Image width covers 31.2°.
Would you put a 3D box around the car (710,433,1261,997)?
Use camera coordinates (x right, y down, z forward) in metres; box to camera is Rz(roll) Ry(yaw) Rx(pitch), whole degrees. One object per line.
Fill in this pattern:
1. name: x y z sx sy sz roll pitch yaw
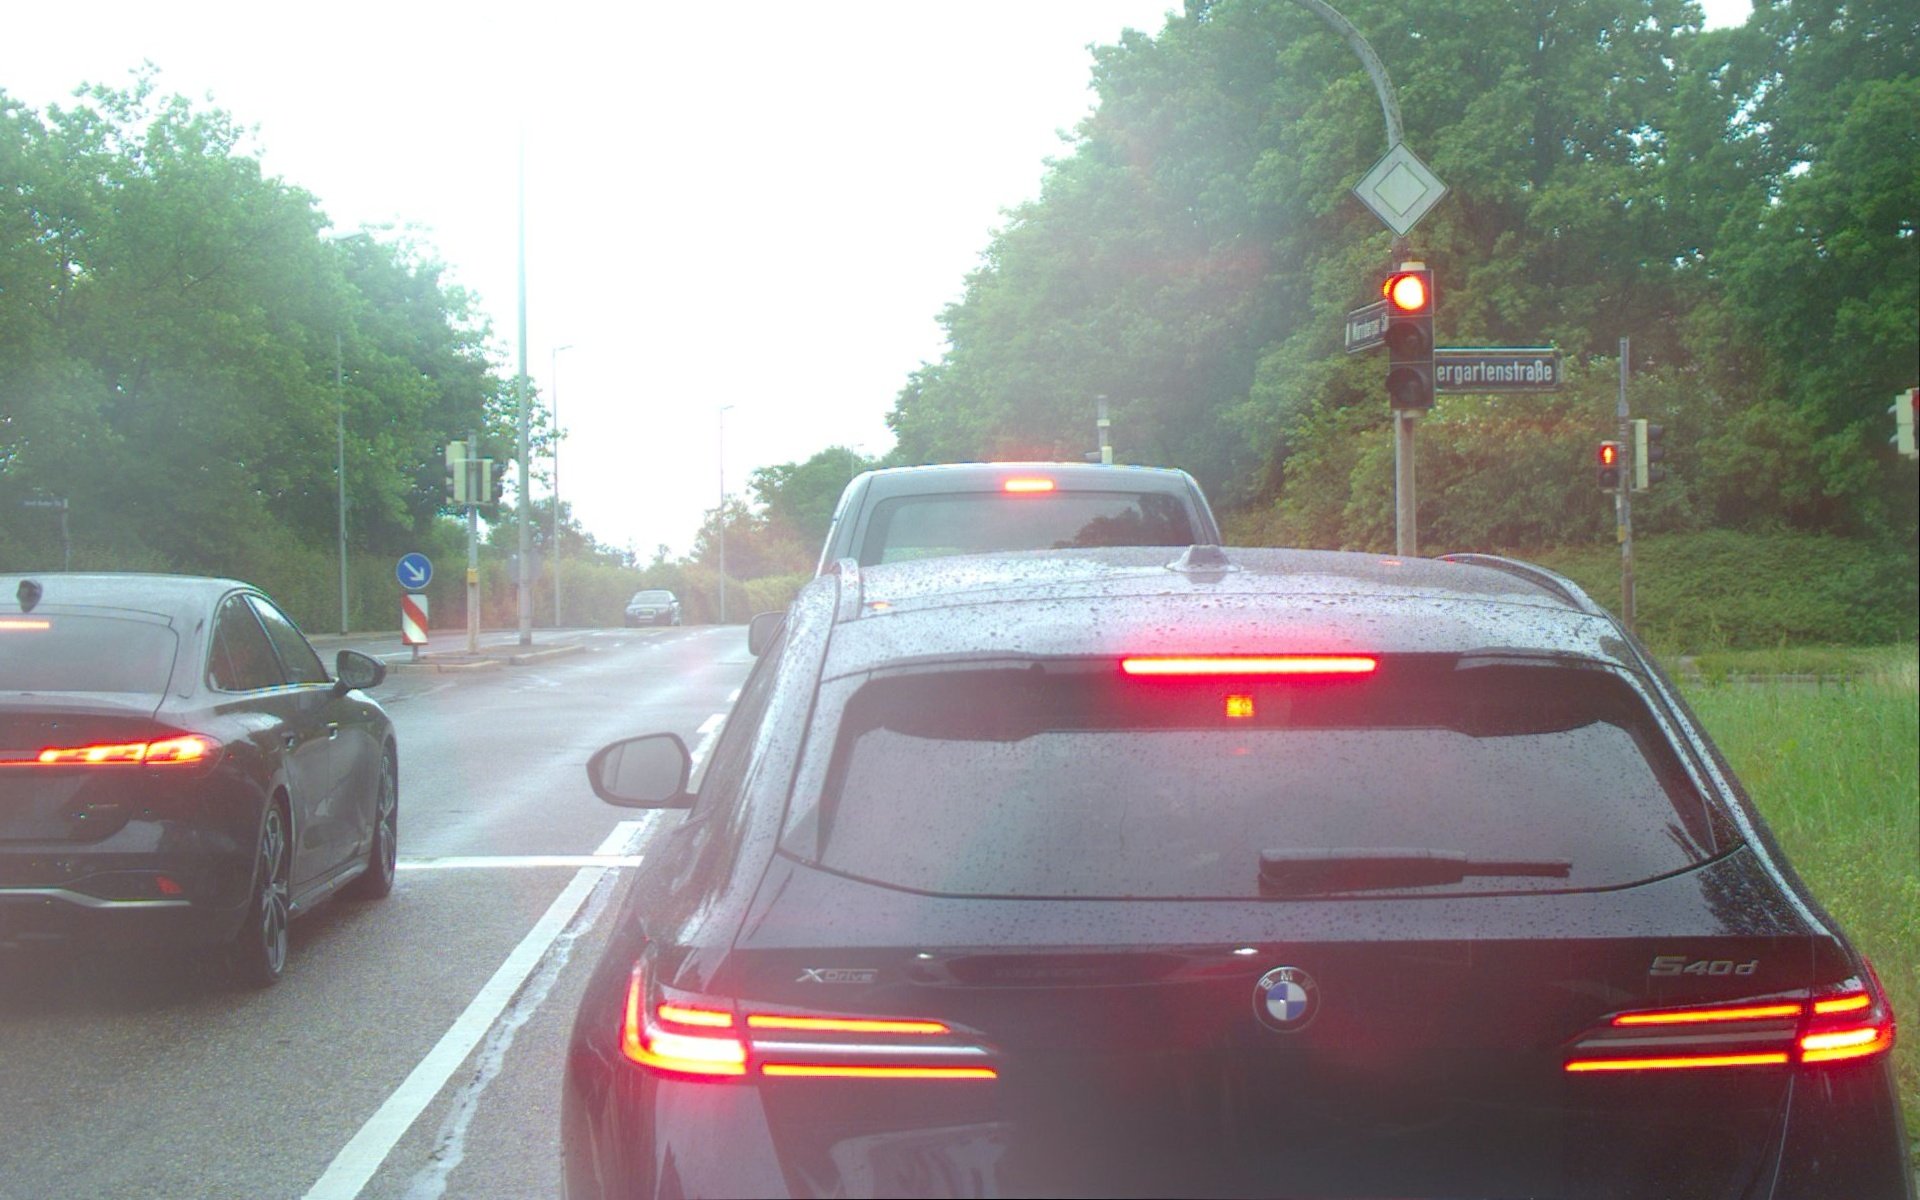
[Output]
1. car: 0.081 0.366 13.359 1.818 1.862 3.952 0 0 0

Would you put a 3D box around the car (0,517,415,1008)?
1. car: -3.349 0.528 13.052 1.993 1.522 4.328 -2 0 -3

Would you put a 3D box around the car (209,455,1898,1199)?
1. car: 0.210 0.619 6.177 1.898 1.546 4.614 0 0 3

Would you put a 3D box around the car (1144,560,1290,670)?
1. car: 3.878 0.209 52.428 1.873 1.537 3.952 -2 0 0

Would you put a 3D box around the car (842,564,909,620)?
1. car: -2.281 -0.232 93.643 1.697 1.422 3.514 -2 0 0

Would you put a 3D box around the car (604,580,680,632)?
1. car: -11.808 0.223 127.848 1.994 1.820 3.999 -2 0 6
